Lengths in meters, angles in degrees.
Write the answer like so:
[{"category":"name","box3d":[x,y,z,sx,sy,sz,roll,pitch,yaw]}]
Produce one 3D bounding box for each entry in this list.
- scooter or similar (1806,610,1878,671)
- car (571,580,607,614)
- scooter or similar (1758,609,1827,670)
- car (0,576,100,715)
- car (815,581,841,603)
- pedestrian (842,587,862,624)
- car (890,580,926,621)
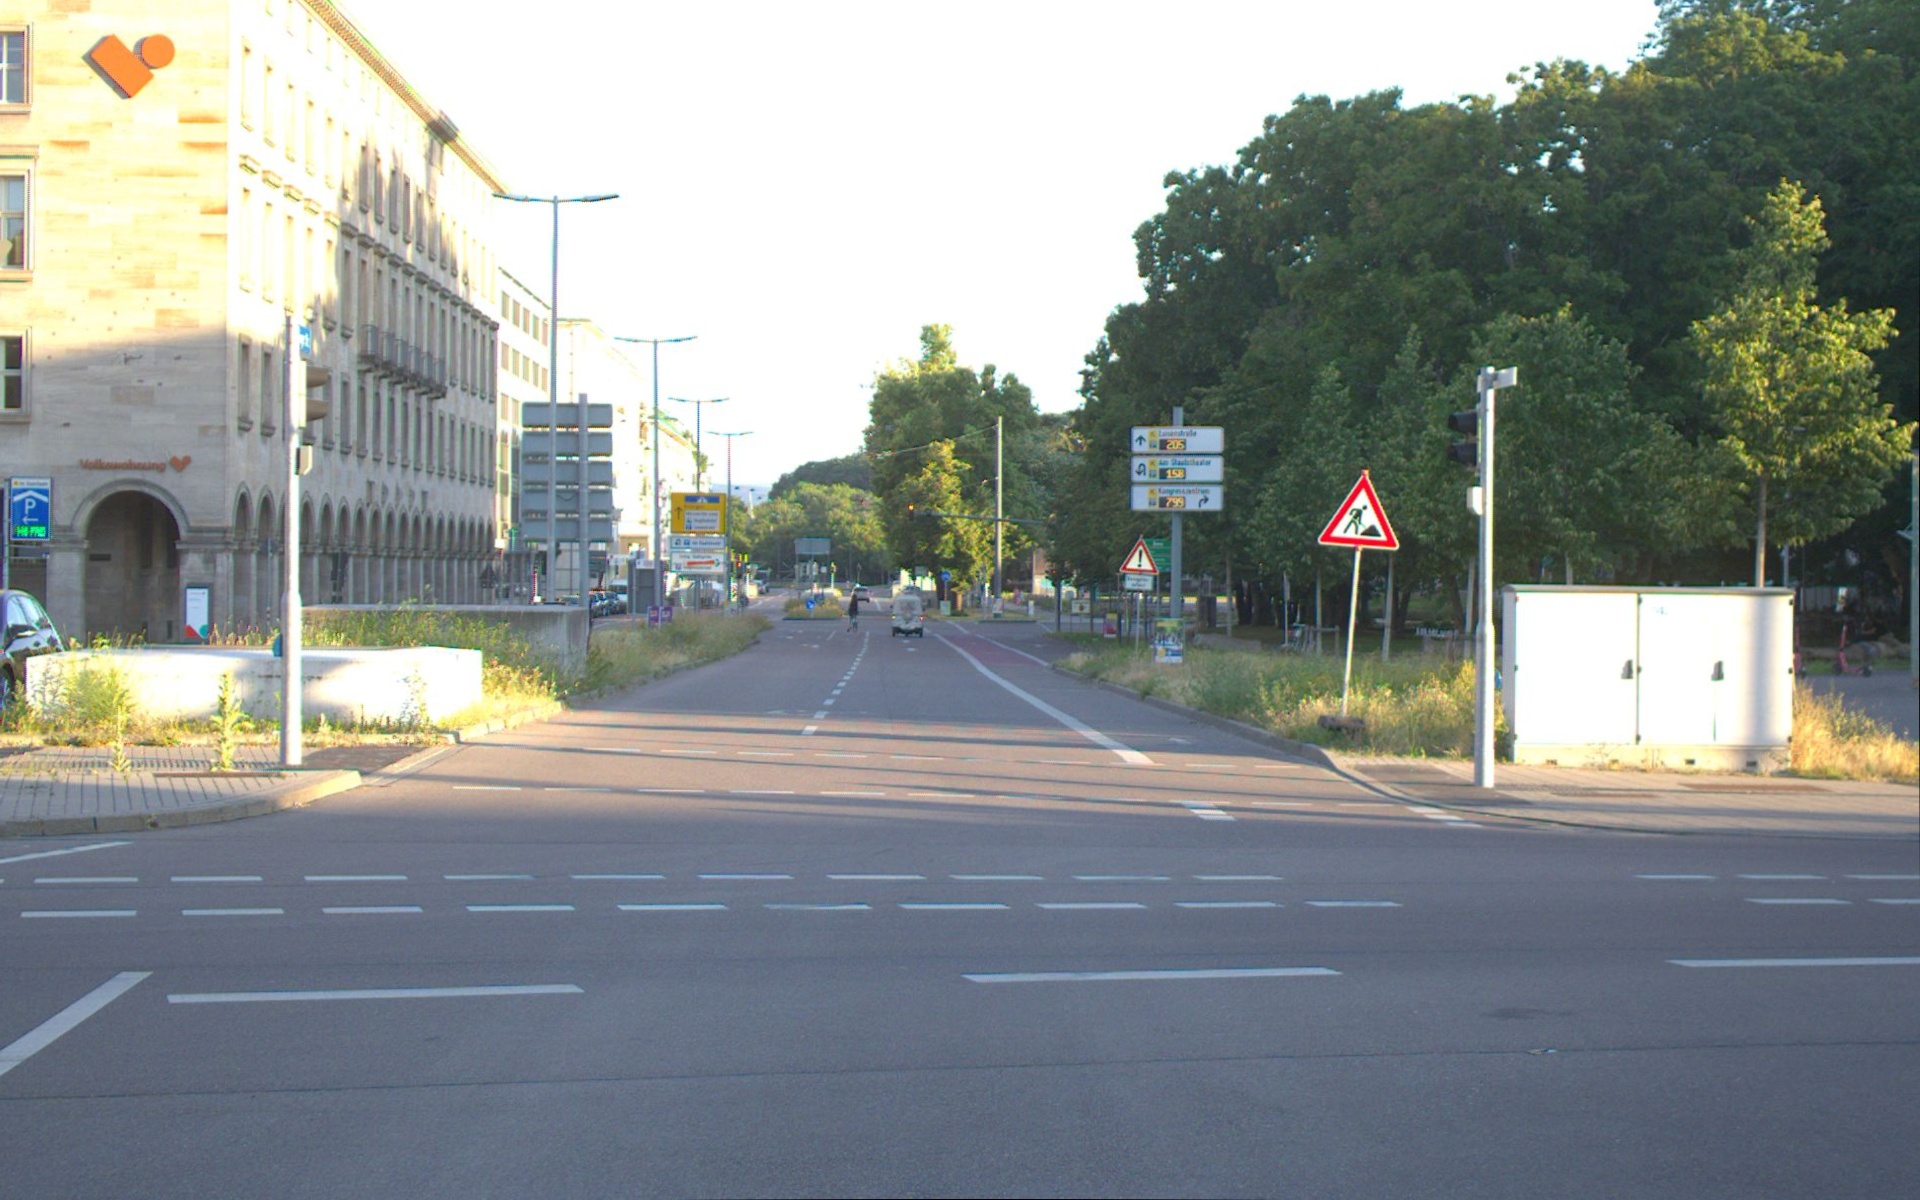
[{"category":"scooter or similar","box3d":[18.185,0.825,70.943,0.569,1.199,2.984,0,0,-3]},{"category":"car","box3d":[-17.626,-0.154,163.403,1.556,1.584,4.001,0,1,-4]},{"category":"scooter or similar","box3d":[17.163,0.799,70.921,0.569,1.199,2.984,0,0,-3]},{"category":"car","box3d":[-10.336,0.428,35.643,1.823,1.337,4.000,0,1,0]},{"category":"car","box3d":[-7.613,-0.445,198.177,1.369,1.230,3.045,0,1,0]},{"category":"pedestrian","box3d":[-4.964,0.235,157.810,0.906,1.665,1.307,0,1,-3]},{"category":"car","box3d":[-2.211,0.019,146.168,1.483,1.690,2.974,0,0,0]}]
